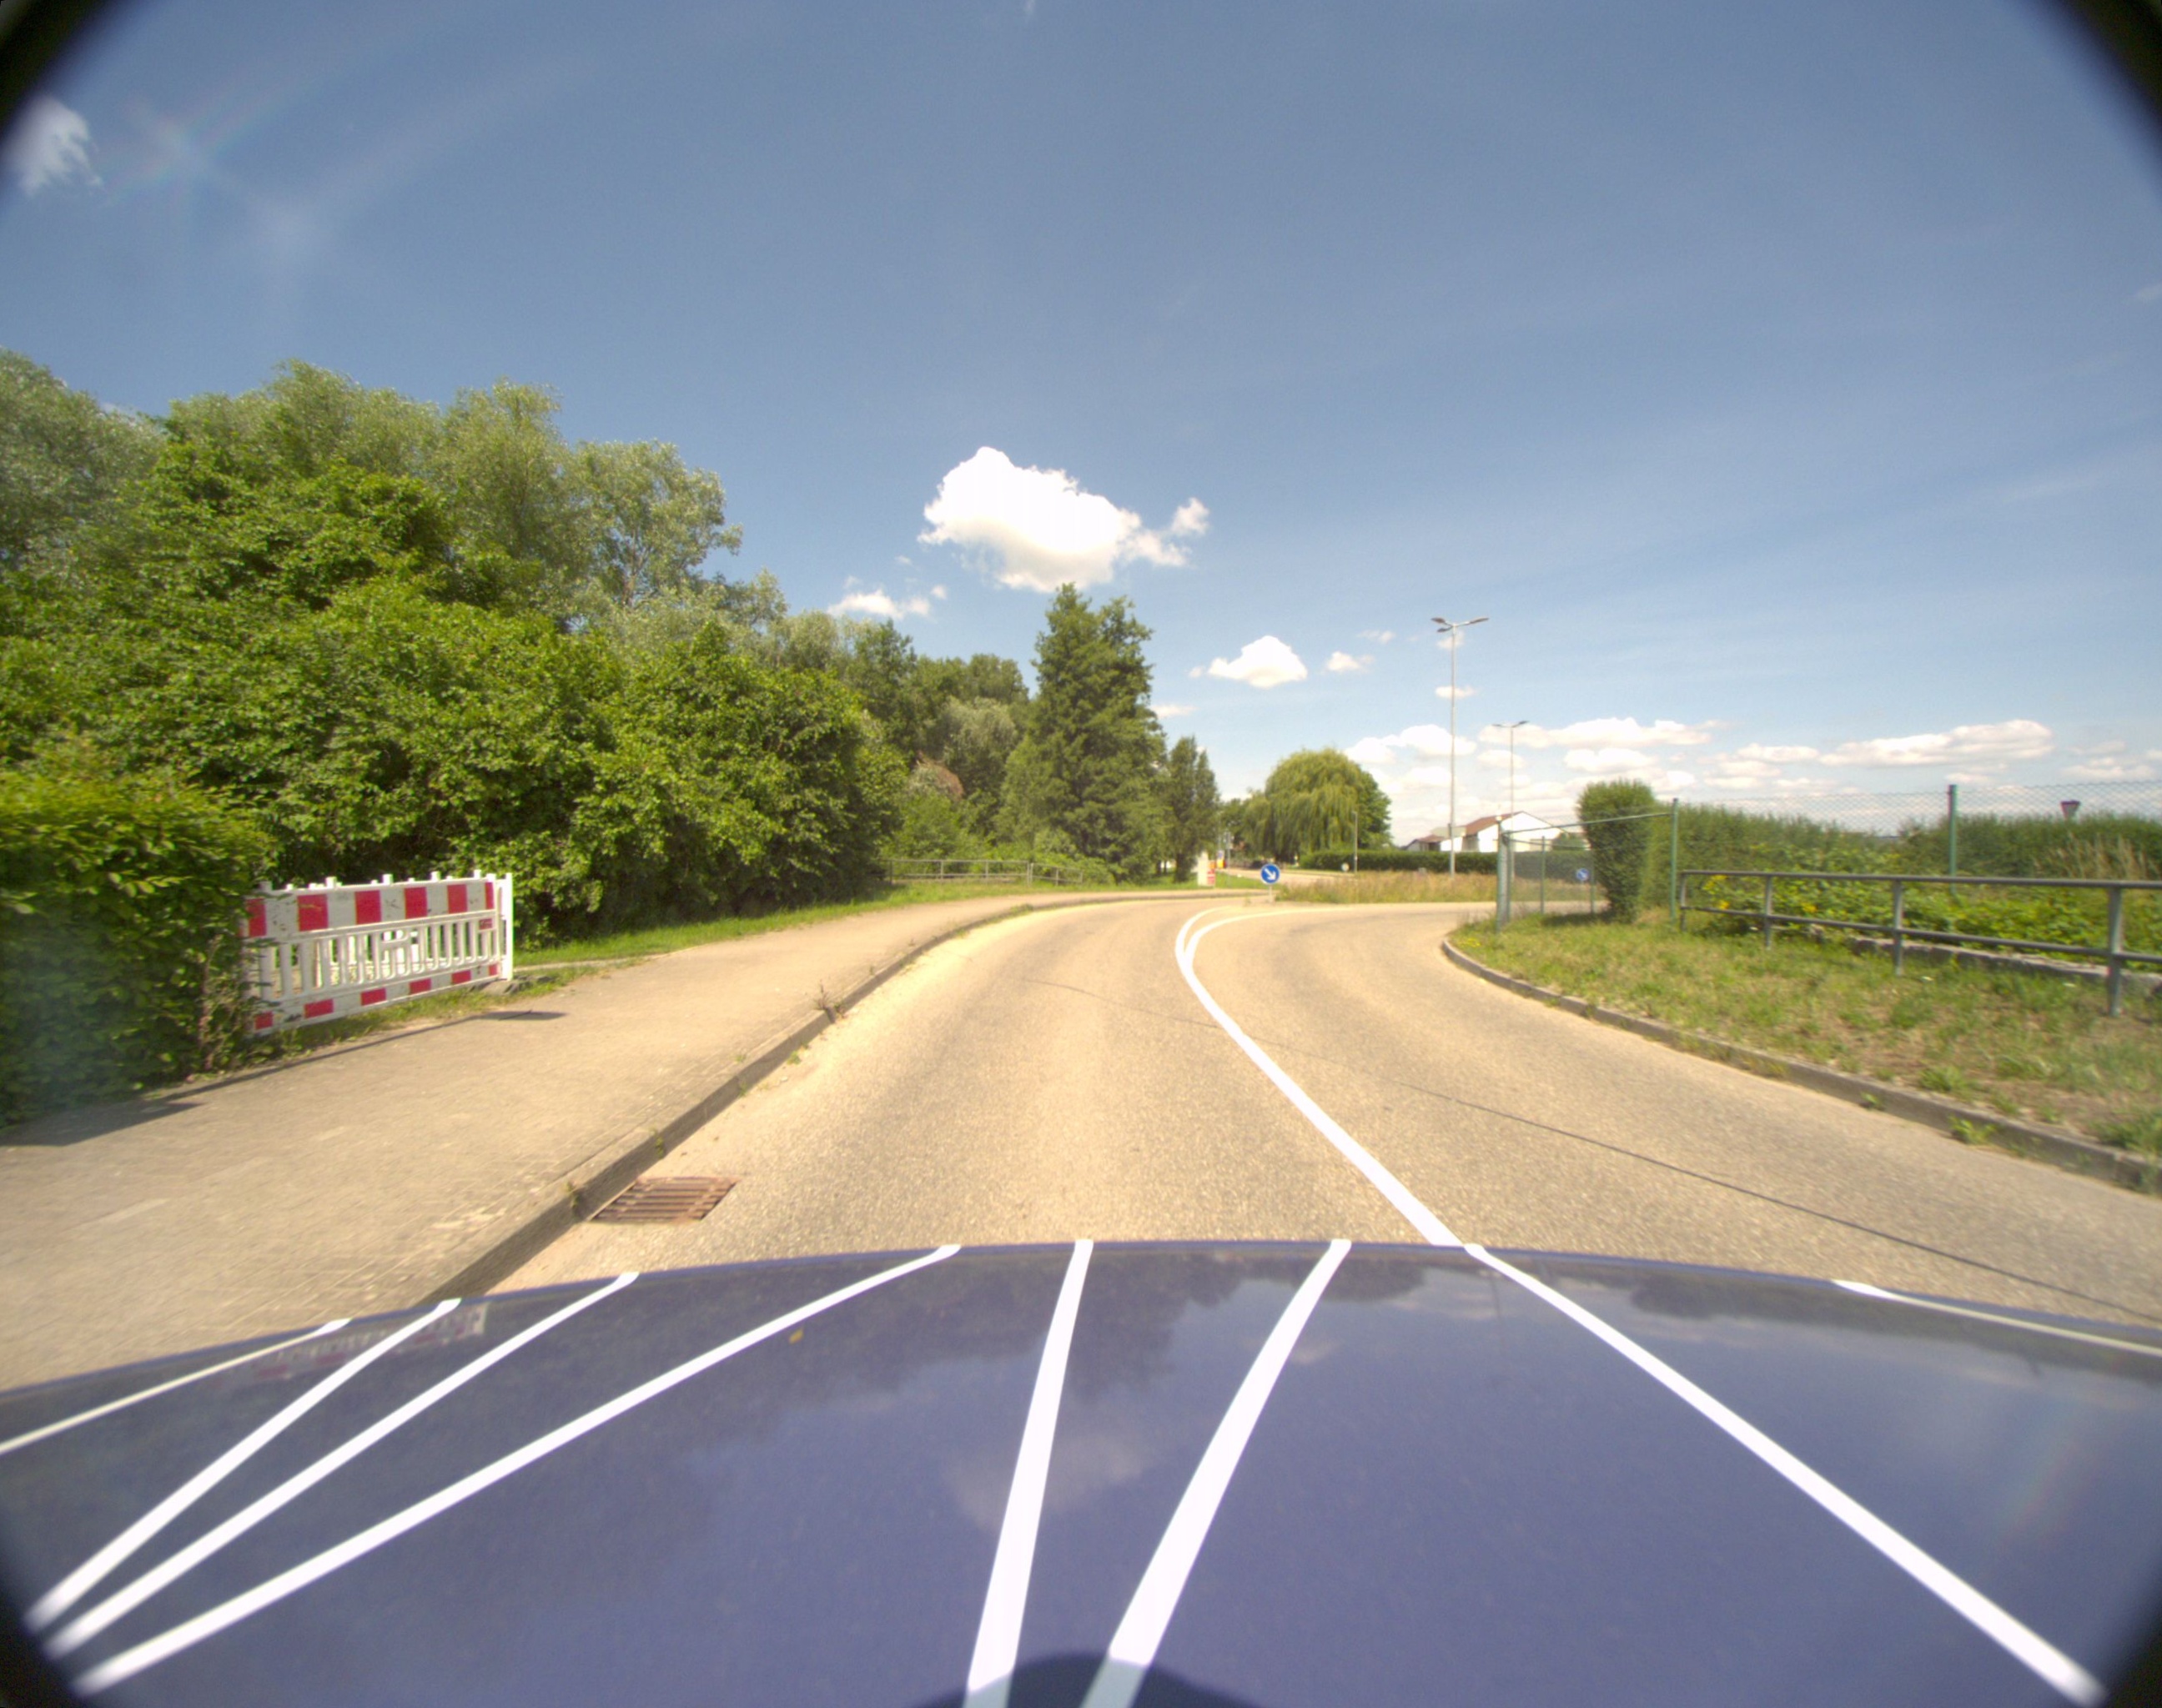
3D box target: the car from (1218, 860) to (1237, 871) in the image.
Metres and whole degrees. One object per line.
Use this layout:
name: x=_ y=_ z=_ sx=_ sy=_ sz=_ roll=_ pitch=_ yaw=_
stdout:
car: x=21.909 y=1.731 z=113.988 sx=1.885 sy=1.455 sz=4.386 roll=1 pitch=0 yaw=-1
